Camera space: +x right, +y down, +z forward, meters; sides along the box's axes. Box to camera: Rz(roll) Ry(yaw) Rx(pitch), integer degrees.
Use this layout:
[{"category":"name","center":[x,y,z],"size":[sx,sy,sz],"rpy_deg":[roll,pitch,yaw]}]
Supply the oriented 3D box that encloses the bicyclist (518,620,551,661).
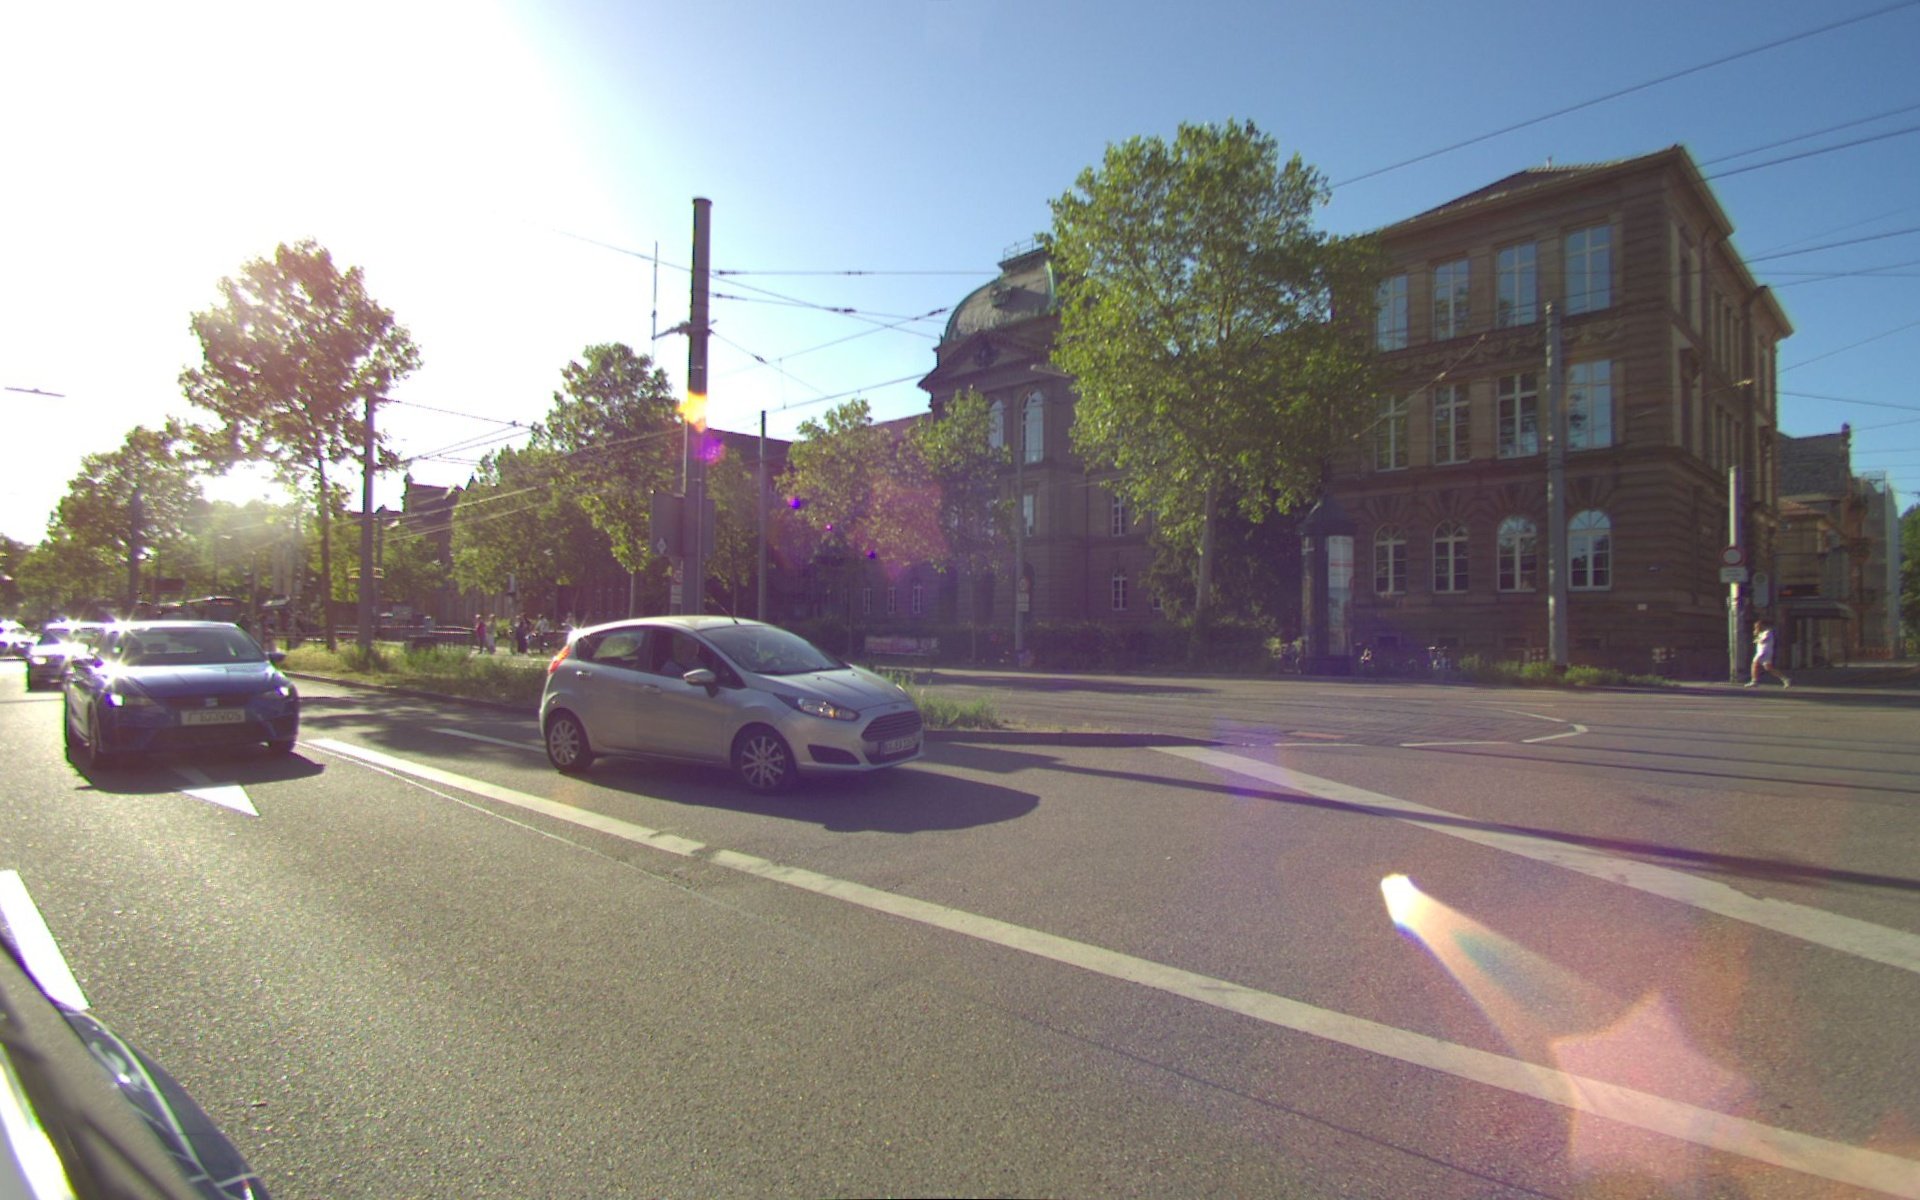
[{"category":"bicyclist","center":[-17.583,1.683,41.842],"size":[0.827,1.656,0.965],"rpy_deg":[-1,0,13]}]

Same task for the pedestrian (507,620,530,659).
[{"category":"pedestrian","center":[-19.085,1.706,43.713],"size":[0.692,1.656,0.592],"rpy_deg":[-1,0,9]}]

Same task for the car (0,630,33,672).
[{"category":"car","center":[-38.971,2.056,41.064],"size":[1.748,1.588,3.829],"rpy_deg":[-1,0,-39]}]

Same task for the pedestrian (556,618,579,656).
[{"category":"pedestrian","center":[-17.149,1.604,44.193],"size":[0.693,1.633,0.592],"rpy_deg":[-1,0,13]}]

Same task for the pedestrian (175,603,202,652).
[{"category":"pedestrian","center":[-34.792,1.225,45.658],"size":[0.773,2.204,0.803],"rpy_deg":[-1,0,-24]}]

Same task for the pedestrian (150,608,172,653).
[{"category":"pedestrian","center":[-36.794,1.391,46.593],"size":[0.701,2.029,0.788],"rpy_deg":[-1,0,-43]}]

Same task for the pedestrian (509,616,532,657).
[{"category":"pedestrian","center":[-19.539,1.618,44.966],"size":[0.693,1.749,0.592],"rpy_deg":[-1,0,13]}]

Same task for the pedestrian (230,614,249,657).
[{"category":"pedestrian","center":[-27.994,1.370,39.337],"size":[0.571,1.674,0.668],"rpy_deg":[-1,0,-36]}]

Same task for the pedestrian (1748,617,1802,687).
[{"category":"pedestrian","center":[21.837,1.365,27.114],"size":[0.852,1.814,1.003],"rpy_deg":[-1,0,-43]}]

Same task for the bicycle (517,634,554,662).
[{"category":"bicycle","center":[-17.594,1.981,41.957],"size":[0.539,1.049,1.656],"rpy_deg":[0,0,14]}]

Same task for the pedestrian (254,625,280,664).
[{"category":"pedestrian","center":[-22.691,1.454,33.132],"size":[0.424,1.242,0.587],"rpy_deg":[-1,0,35]}]

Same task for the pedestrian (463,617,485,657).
[{"category":"pedestrian","center":[-21.699,1.644,45.189],"size":[0.693,1.758,0.592],"rpy_deg":[-1,0,13]}]

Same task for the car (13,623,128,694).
[{"category":"car","center":[-20.636,1.286,23.425],"size":[1.773,1.439,4.002],"rpy_deg":[-1,0,-45]}]

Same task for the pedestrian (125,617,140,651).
[{"category":"pedestrian","center":[-52.251,2.117,63.864],"size":[0.704,2.131,0.788],"rpy_deg":[-1,0,-40]}]

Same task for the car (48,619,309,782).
[{"category":"car","center":[-8.791,0.974,11.260],"size":[3.870,1.459,1.753],"rpy_deg":[-2,-1,44]}]

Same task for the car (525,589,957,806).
[{"category":"car","center":[-2.086,0.748,9.277],"size":[3.852,1.607,1.649],"rpy_deg":[-1,0,33]}]

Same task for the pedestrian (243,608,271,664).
[{"category":"pedestrian","center":[-23.210,1.182,33.413],"size":[0.503,1.820,0.639],"rpy_deg":[-1,0,35]}]

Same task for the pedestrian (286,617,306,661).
[{"category":"pedestrian","center":[-25.374,1.484,38.666],"size":[0.536,1.674,0.731],"rpy_deg":[-1,0,-40]}]

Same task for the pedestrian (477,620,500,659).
[{"category":"pedestrian","center":[-20.609,1.733,44.259],"size":[0.693,1.689,0.592],"rpy_deg":[-1,0,13]}]
